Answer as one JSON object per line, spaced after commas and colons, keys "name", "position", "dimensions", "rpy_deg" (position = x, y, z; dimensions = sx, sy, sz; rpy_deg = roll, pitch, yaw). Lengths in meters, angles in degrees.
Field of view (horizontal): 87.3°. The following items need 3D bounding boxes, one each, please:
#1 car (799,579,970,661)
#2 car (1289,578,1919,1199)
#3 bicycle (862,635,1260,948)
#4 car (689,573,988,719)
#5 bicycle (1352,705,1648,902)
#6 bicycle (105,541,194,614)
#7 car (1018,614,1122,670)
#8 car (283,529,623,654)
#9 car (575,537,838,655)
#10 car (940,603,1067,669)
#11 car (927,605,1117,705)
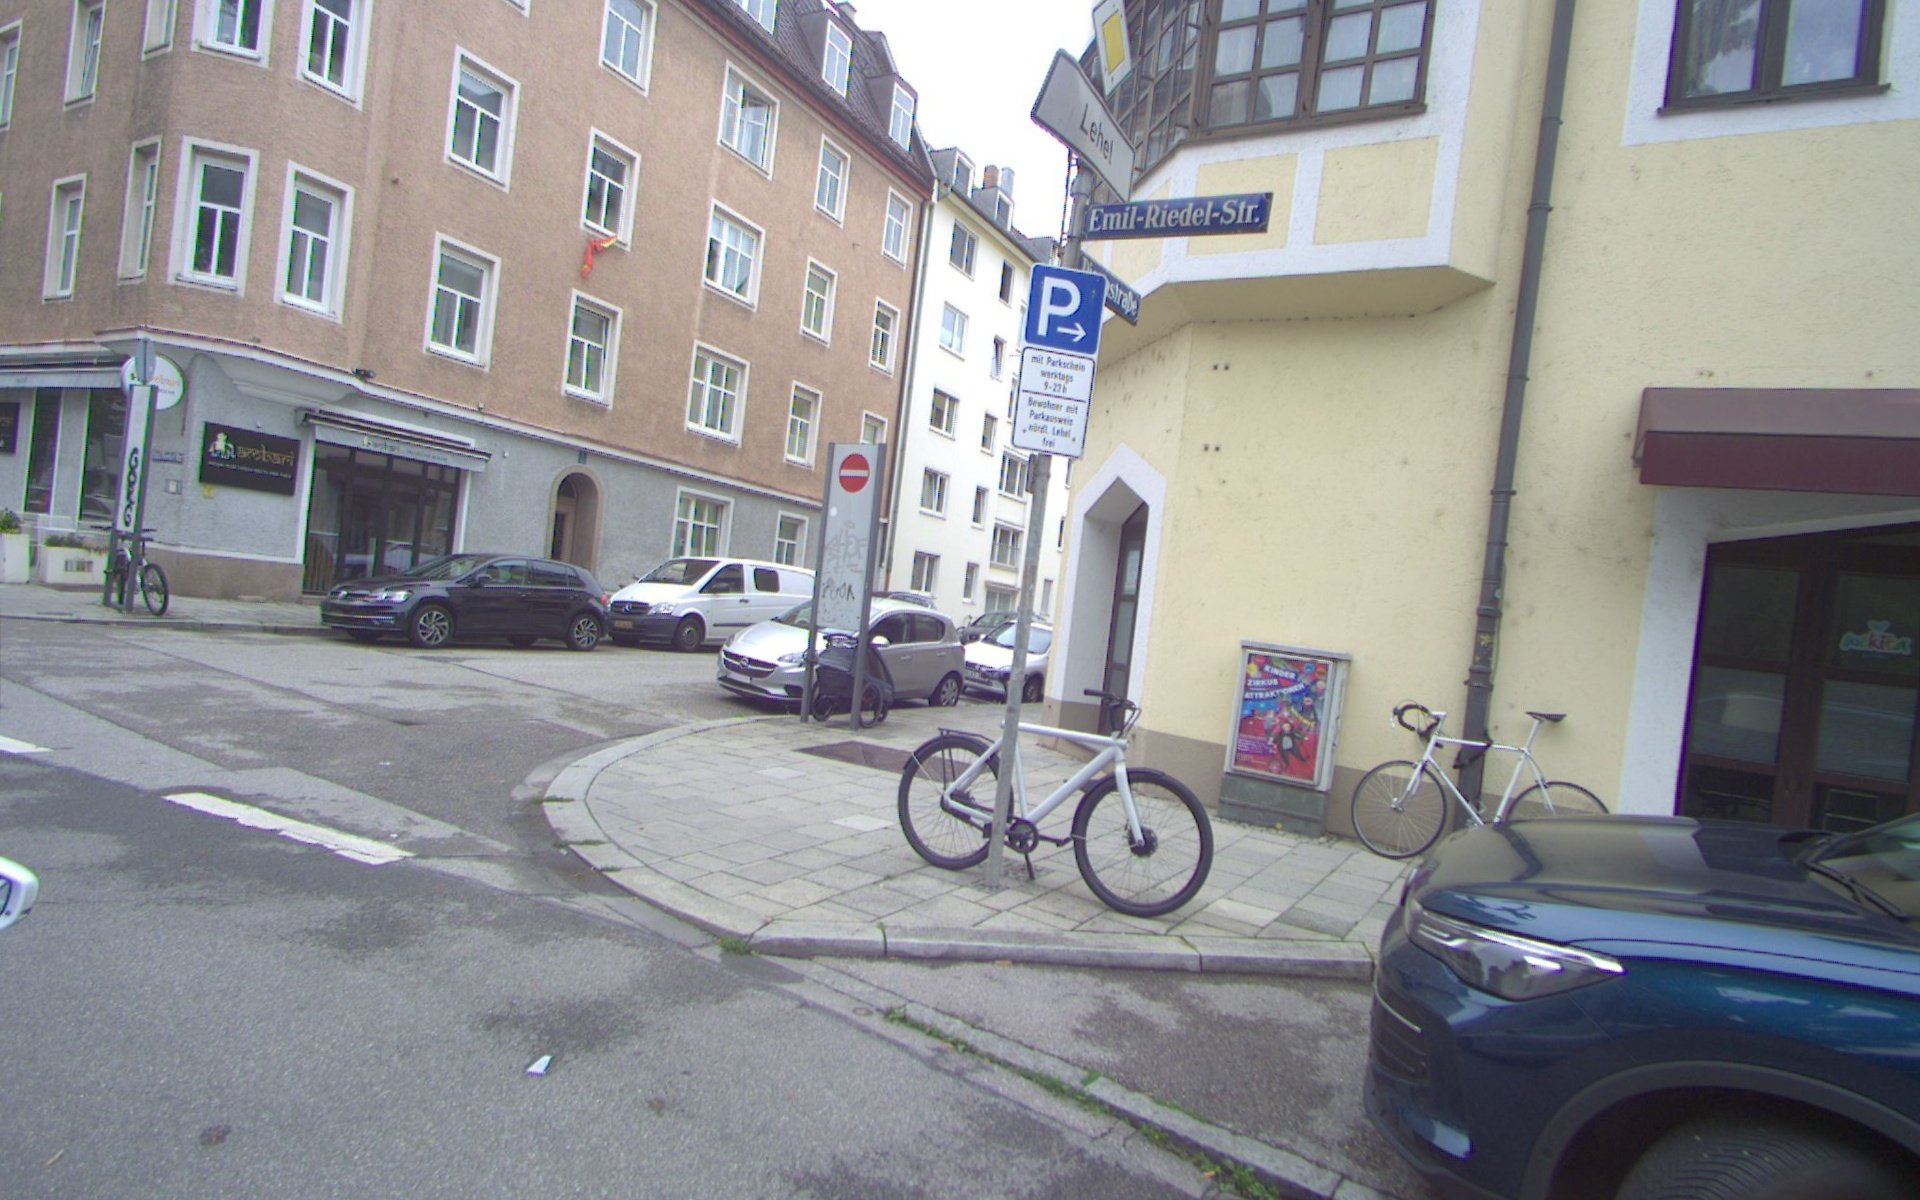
{"name": "car", "position": [-1.809, 0.576, 25.783], "dimensions": [2.065, 1.707, 4.616], "rpy_deg": [5, -2, 30]}
{"name": "car", "position": [3.236, 1.055, 2.123], "dimensions": [4.435, 1.701, 1.820], "rpy_deg": [7, 1, 31]}
{"name": "bicycle", "position": [0.480, 0.923, 5.373], "dimensions": [1.963, 1.222, 0.514], "rpy_deg": [7, 0, 32]}
{"name": "car", "position": [-1.458, 0.658, 13.595], "dimensions": [1.717, 1.475, 4.042], "rpy_deg": [9, 1, 32]}
{"name": "bicycle", "position": [3.628, 1.335, 6.868], "dimensions": [1.656, 0.989, 0.271], "rpy_deg": [7, 0, 30]}
{"name": "bicycle", "position": [-10.866, -0.308, 13.475], "dimensions": [1.304, 0.815, 0.457], "rpy_deg": [7, 0, 32]}
{"name": "car", "position": [4.043, 1.561, 36.284], "dimensions": [2.065, 1.707, 4.355], "rpy_deg": [5, -2, 30]}
{"name": "car", "position": [-7.460, -0.048, 15.244], "dimensions": [1.893, 1.446, 4.177], "rpy_deg": [5, -2, 30]}
{"name": "car", "position": [-4.896, 0.015, 20.330], "dimensions": [2.065, 1.876, 5.136], "rpy_deg": [5, -2, 30]}
{"name": "car", "position": [1.426, 1.172, 31.228], "dimensions": [2.065, 1.707, 4.355], "rpy_deg": [5, -2, 30]}
{"name": "car", "position": [1.233, 1.035, 18.282], "dimensions": [1.717, 1.394, 3.812], "rpy_deg": [9, 1, 32]}
